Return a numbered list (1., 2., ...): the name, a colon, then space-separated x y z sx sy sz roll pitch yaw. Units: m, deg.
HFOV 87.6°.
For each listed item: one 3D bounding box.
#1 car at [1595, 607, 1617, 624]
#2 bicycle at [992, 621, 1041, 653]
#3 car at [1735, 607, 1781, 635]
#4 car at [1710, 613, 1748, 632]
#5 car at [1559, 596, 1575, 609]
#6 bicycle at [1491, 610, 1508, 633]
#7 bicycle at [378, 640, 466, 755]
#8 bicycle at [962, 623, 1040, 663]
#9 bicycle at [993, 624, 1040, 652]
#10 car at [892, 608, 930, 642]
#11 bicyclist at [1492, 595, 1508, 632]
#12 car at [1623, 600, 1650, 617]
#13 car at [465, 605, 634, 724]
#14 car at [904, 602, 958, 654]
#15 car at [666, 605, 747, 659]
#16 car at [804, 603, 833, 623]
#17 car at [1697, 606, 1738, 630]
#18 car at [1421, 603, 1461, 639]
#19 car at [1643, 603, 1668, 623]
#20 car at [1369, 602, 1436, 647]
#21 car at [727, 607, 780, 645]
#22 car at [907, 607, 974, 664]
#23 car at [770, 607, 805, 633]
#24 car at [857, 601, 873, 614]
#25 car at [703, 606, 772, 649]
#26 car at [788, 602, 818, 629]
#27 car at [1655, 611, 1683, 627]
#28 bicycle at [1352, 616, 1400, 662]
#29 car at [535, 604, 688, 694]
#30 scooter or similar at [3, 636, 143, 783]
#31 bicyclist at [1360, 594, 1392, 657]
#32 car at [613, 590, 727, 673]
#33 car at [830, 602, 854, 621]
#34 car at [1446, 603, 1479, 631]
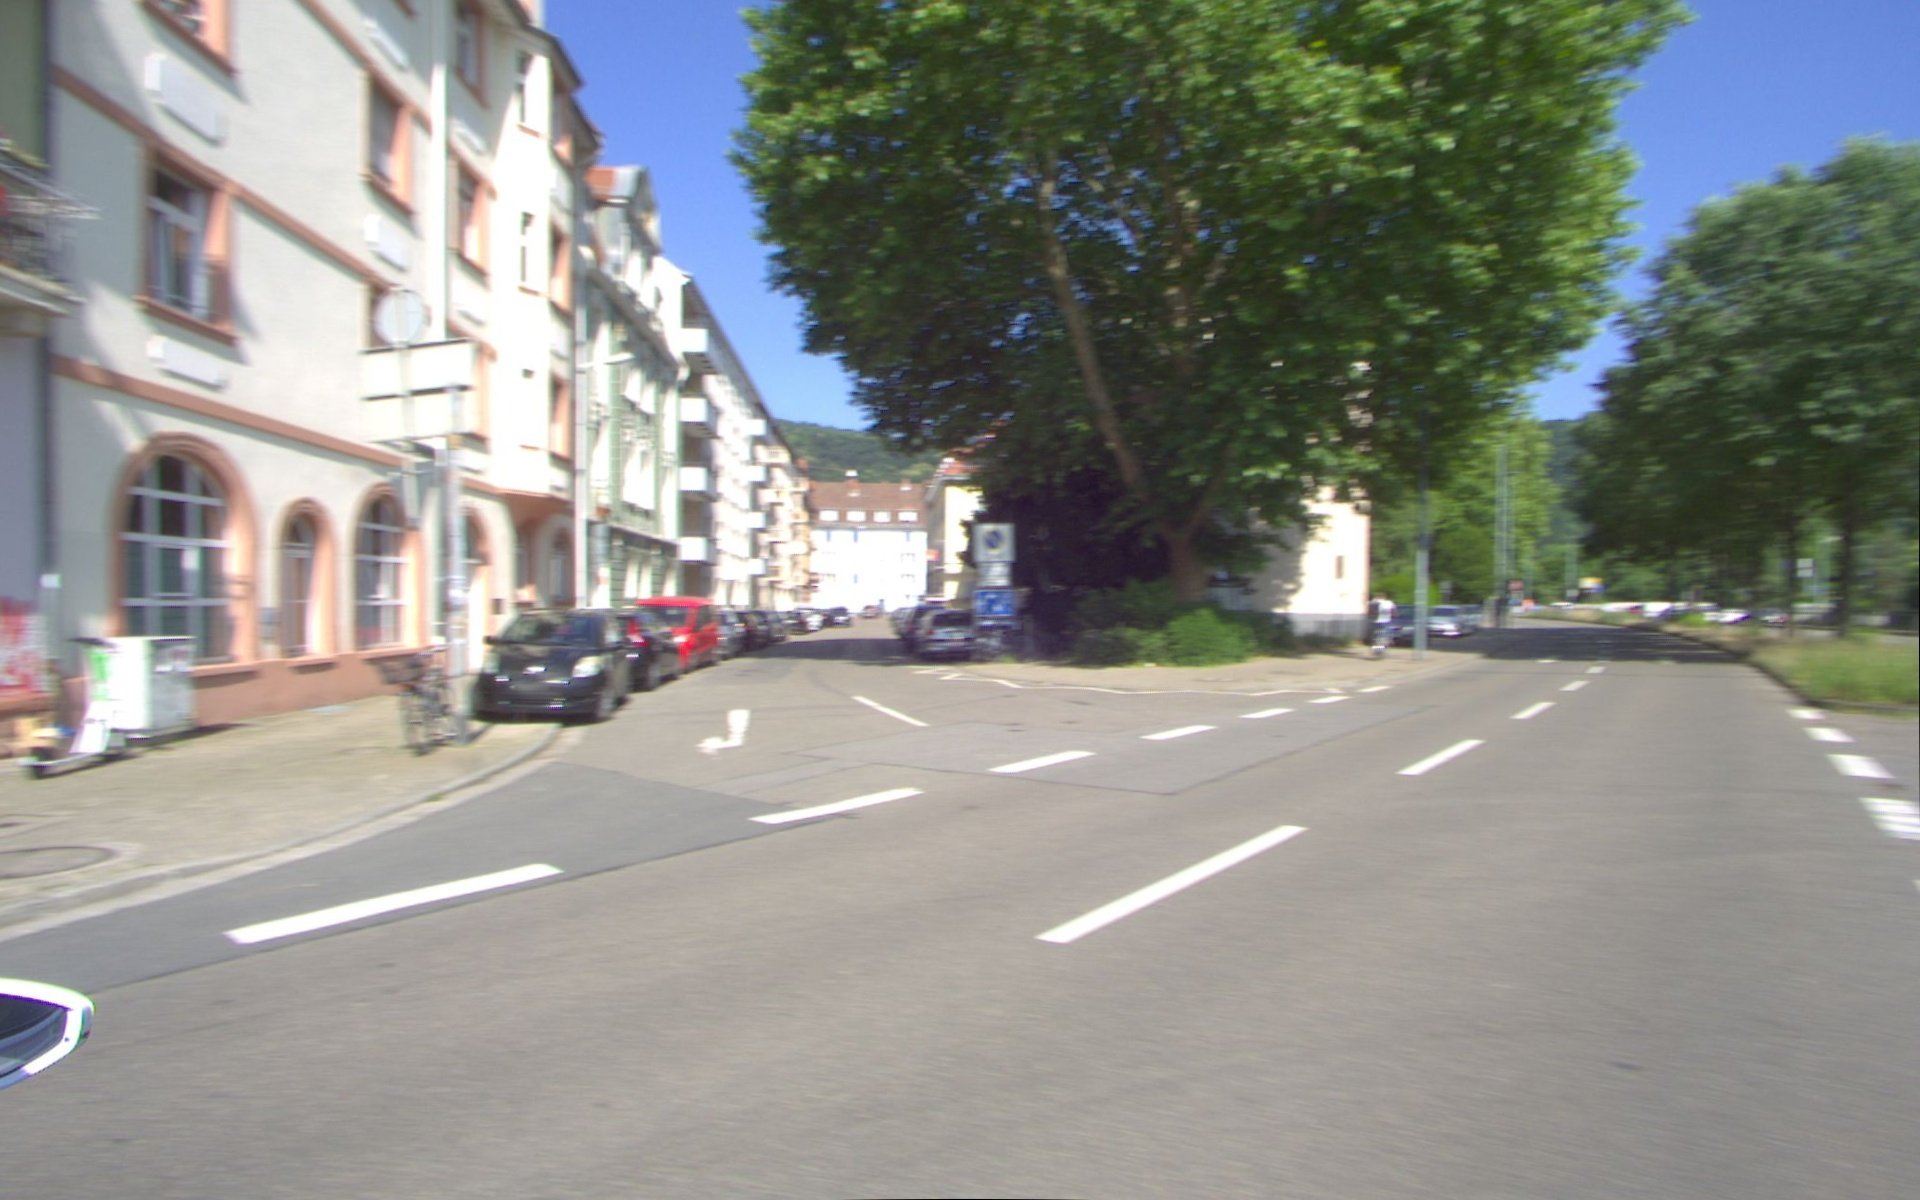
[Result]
1. car: 72.553 1.758 112.446 1.608 1.835 3.579 1 0 26
2. bicycle: 1.882 1.243 33.541 1.545 1.007 0.456 2 2 -6
3. car: 57.825 1.486 72.636 1.970 1.916 3.982 1 0 30
4. car: 69.357 1.997 90.338 1.968 1.699 3.985 1 0 27
5. car: 83.539 0.340 137.838 1.608 1.835 3.579 1 0 26
6. bicycle: 28.150 1.107 52.220 0.651 1.137 1.797 1 0 25
7. bicycle: -5.742 0.995 10.768 0.616 1.048 1.877 0 0 -22
8. bicycle: 1.053 1.100 25.892 1.862 0.997 0.973 1 0 -9
9. bicycle: 1.840 1.227 32.624 1.478 0.845 0.383 2 2 -6
10. car: -2.371 1.146 47.991 1.720 1.540 3.671 1 0 -3
11. bicyclist: 28.178 0.711 52.256 0.637 1.919 0.836 1 1 26
12. car: 80.834 0.954 119.628 1.967 1.892 3.987 3 1 25
13. car: -5.810 0.828 14.596 1.794 1.466 3.762 1 0 -15
14. car: -1.044 0.924 34.337 1.720 1.679 3.779 1 0 -3
15. car: -7.631 0.930 30.472 1.833 1.505 3.998 1 0 -6
16. car: -10.927 0.986 77.593 1.961 1.497 3.999 1 0 -4
17. car: 63.045 1.506 83.381 1.968 1.916 3.986 1 0 26
18. car: 22.468 0.963 46.797 1.620 1.595 3.986 1 0 26
19. car: 71.145 1.329 102.453 1.609 1.940 3.667 1 0 27
20. car: 16.317 0.876 36.828 1.767 1.532 3.874 1 0 31
21. car: -8.615 1.059 42.082 1.833 1.505 3.998 1 0 -6
22. car: -0.626 0.965 28.653 1.775 1.470 3.794 1 0 -3
23. car: -10.406 1.167 60.548 1.833 1.505 3.861 1 0 -6
24. car: -11.382 0.852 120.351 1.720 1.500 3.779 1 0 -3
25. car: -8.179 0.983 37.116 1.833 1.505 4.000 1 0 -3
26. car: -10.551 1.010 67.438 1.833 1.745 3.861 1 0 -6
27. car: 68.227 1.827 96.383 1.608 1.515 3.667 1 0 26
28. bicycle: 11.190 1.048 26.922 1.269 1.204 0.551 0 1 -32
29. car: -6.638 0.855 19.547 1.950 1.563 4.061 0 0 -6
30. scooter or similar: -7.817 0.921 8.879 0.269 1.142 1.446 2 0 -14
31. bicyclist: 11.159 0.673 26.891 0.581 1.655 0.538 0 1 -31
32. car: -7.075 0.732 24.822 1.836 1.865 4.225 1 0 -4
33. car: -9.664 0.903 81.937 1.720 1.480 3.779 1 0 -3
34. car: 31.349 1.030 62.520 1.747 1.702 3.986 1 0 26
